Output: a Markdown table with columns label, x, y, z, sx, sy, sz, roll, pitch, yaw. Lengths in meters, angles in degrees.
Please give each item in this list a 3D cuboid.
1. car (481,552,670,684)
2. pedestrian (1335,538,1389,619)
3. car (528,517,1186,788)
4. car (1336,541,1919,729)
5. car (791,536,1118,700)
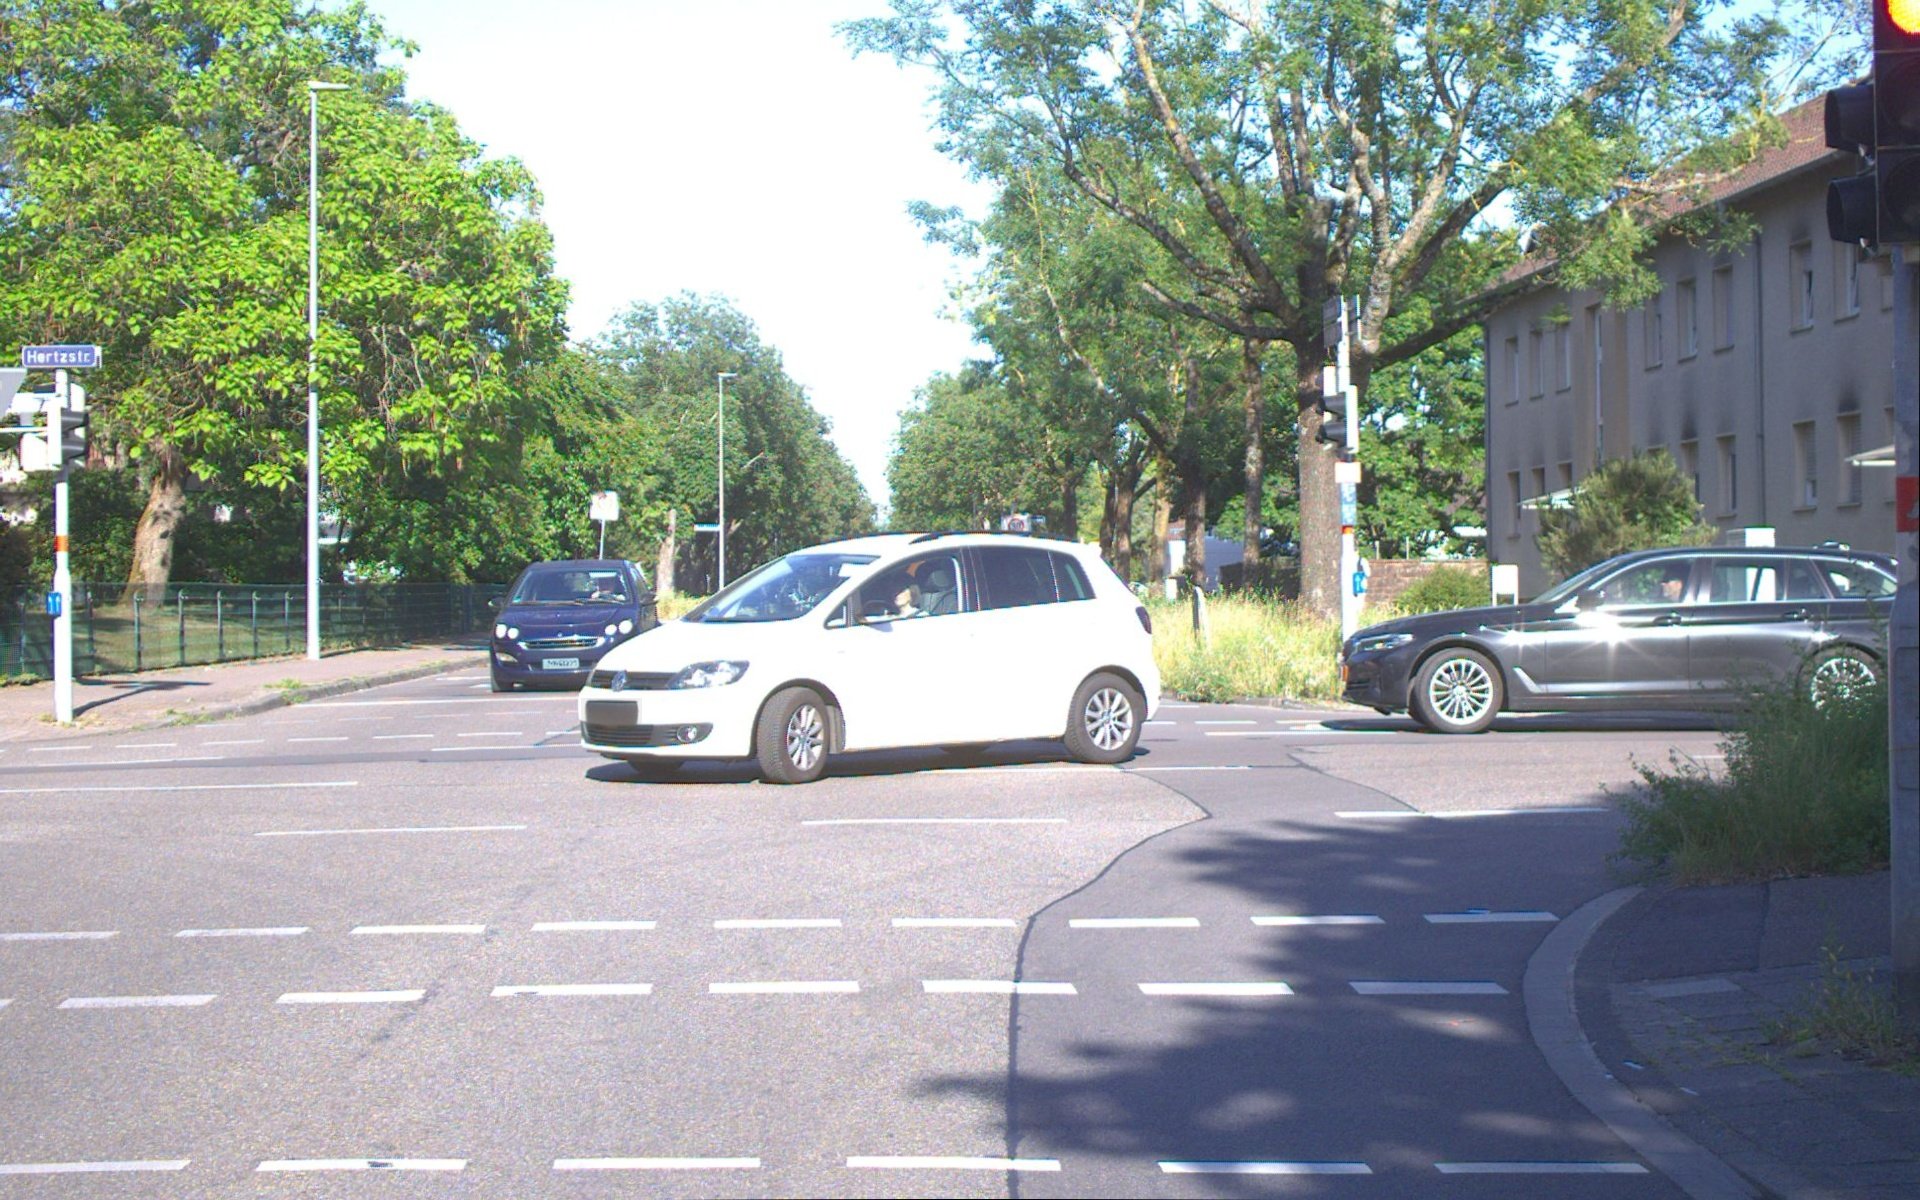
| label | x | y | z | sx | sy | sz | roll | pitch | yaw |
| --- | --- | --- | --- | --- | --- | --- | --- | --- | --- |
| car | -4.272 | 0.169 | 38.622 | 1.711 | 1.381 | 3.471 | 0 | 1 | 0 |
| pedestrian | 7.547 | -0.402 | 64.588 | 0.842 | 1.488 | 0.924 | 2 | 1 | -1 |
| car | -0.634 | 0.281 | 22.988 | 4.108 | 1.558 | 1.757 | -3 | 2 | -37 |
| car | 5.394 | 0.260 | 27.442 | 4.728 | 1.425 | 2.000 | 0 | 1 | 6 |
| car | -0.120 | 0.157 | 35.232 | 1.751 | 1.577 | 4.001 | 1 | 0 | -26 |
